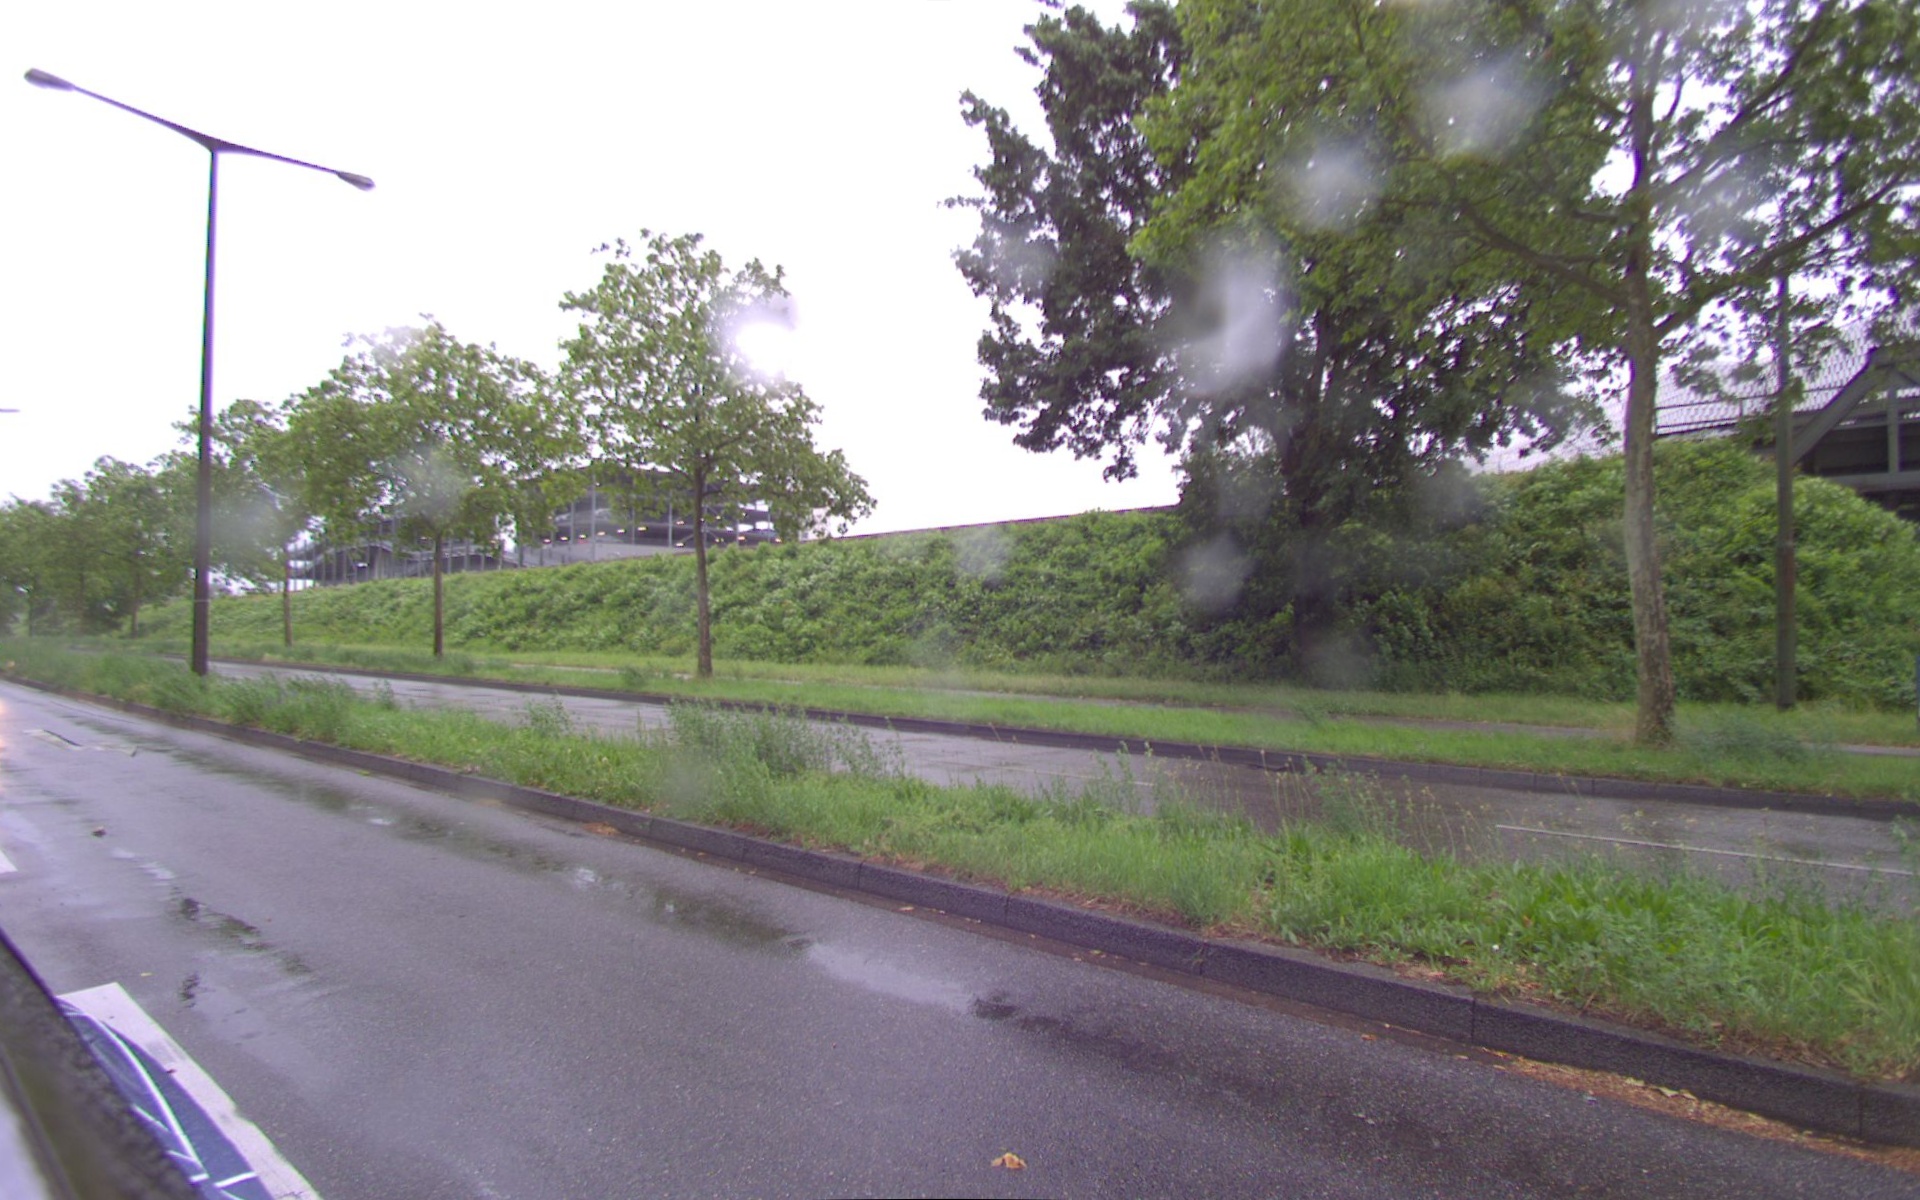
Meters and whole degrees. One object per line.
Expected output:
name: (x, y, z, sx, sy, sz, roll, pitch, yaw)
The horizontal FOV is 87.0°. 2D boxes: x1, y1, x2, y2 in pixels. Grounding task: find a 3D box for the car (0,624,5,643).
car: (-76.148, 2.610, 79.148, 4.089, 1.476, 1.702, -1, -3, 40)
